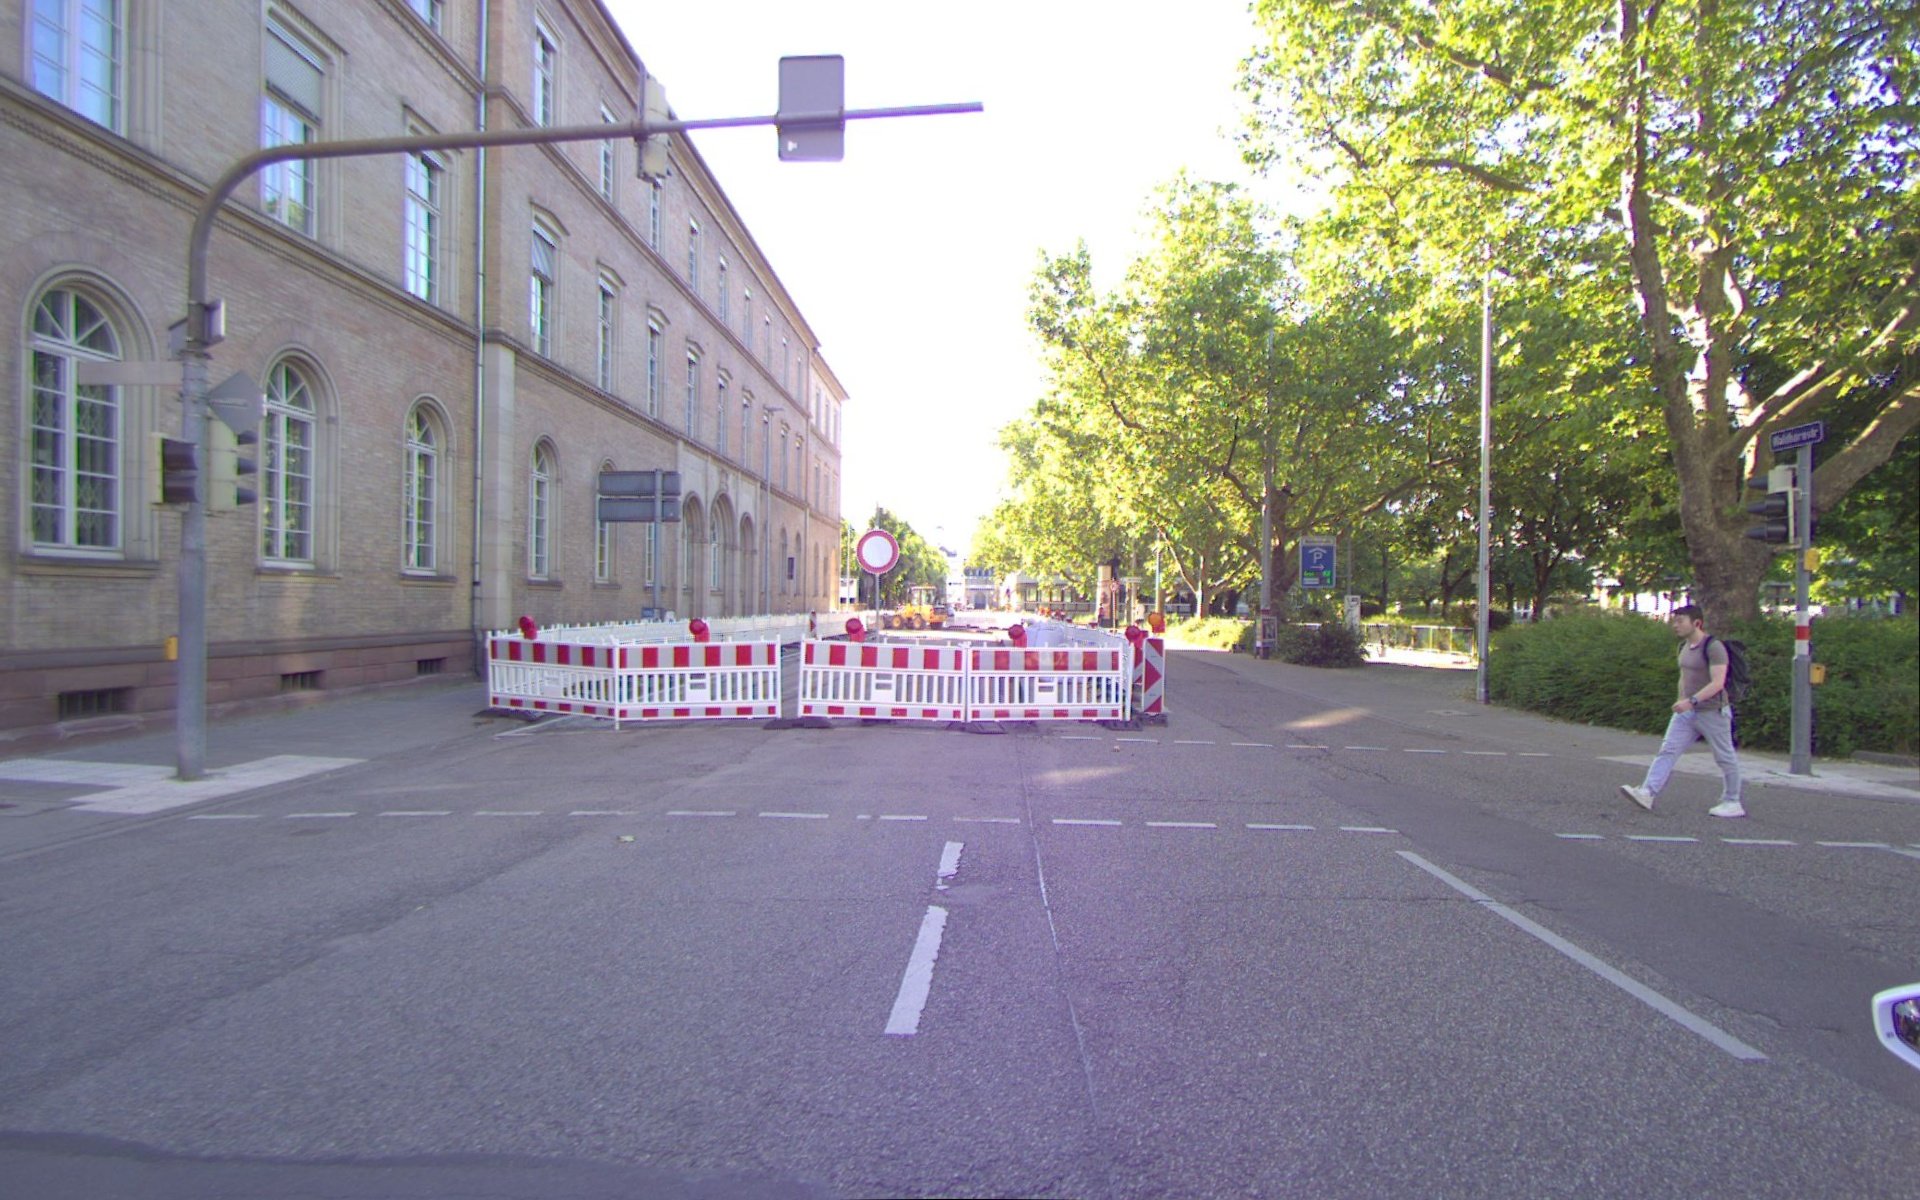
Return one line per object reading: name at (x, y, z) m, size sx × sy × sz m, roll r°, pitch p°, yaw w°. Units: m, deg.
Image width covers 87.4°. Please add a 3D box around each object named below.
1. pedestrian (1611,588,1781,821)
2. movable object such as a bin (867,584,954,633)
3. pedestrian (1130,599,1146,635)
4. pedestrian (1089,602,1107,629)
pedestrian at (5.988, 0.811, 8.229) m, size 0.866 × 1.795 × 0.748 m, roll 1°, pitch 0°, yaw 12°
movable object such as a bin at (-3.345, 0.536, 66.388) m, size 2.550 × 3.072 × 5.853 m, roll 0°, pitch 0°, yaw -44°
pedestrian at (9.509, 0.899, 53.679) m, size 0.732 × 1.837 × 1.133 m, roll 0°, pitch 2°, yaw 2°
pedestrian at (8.604, 0.977, 62.723) m, size 0.702 × 1.645 × 0.931 m, roll 1°, pitch -1°, yaw -30°
